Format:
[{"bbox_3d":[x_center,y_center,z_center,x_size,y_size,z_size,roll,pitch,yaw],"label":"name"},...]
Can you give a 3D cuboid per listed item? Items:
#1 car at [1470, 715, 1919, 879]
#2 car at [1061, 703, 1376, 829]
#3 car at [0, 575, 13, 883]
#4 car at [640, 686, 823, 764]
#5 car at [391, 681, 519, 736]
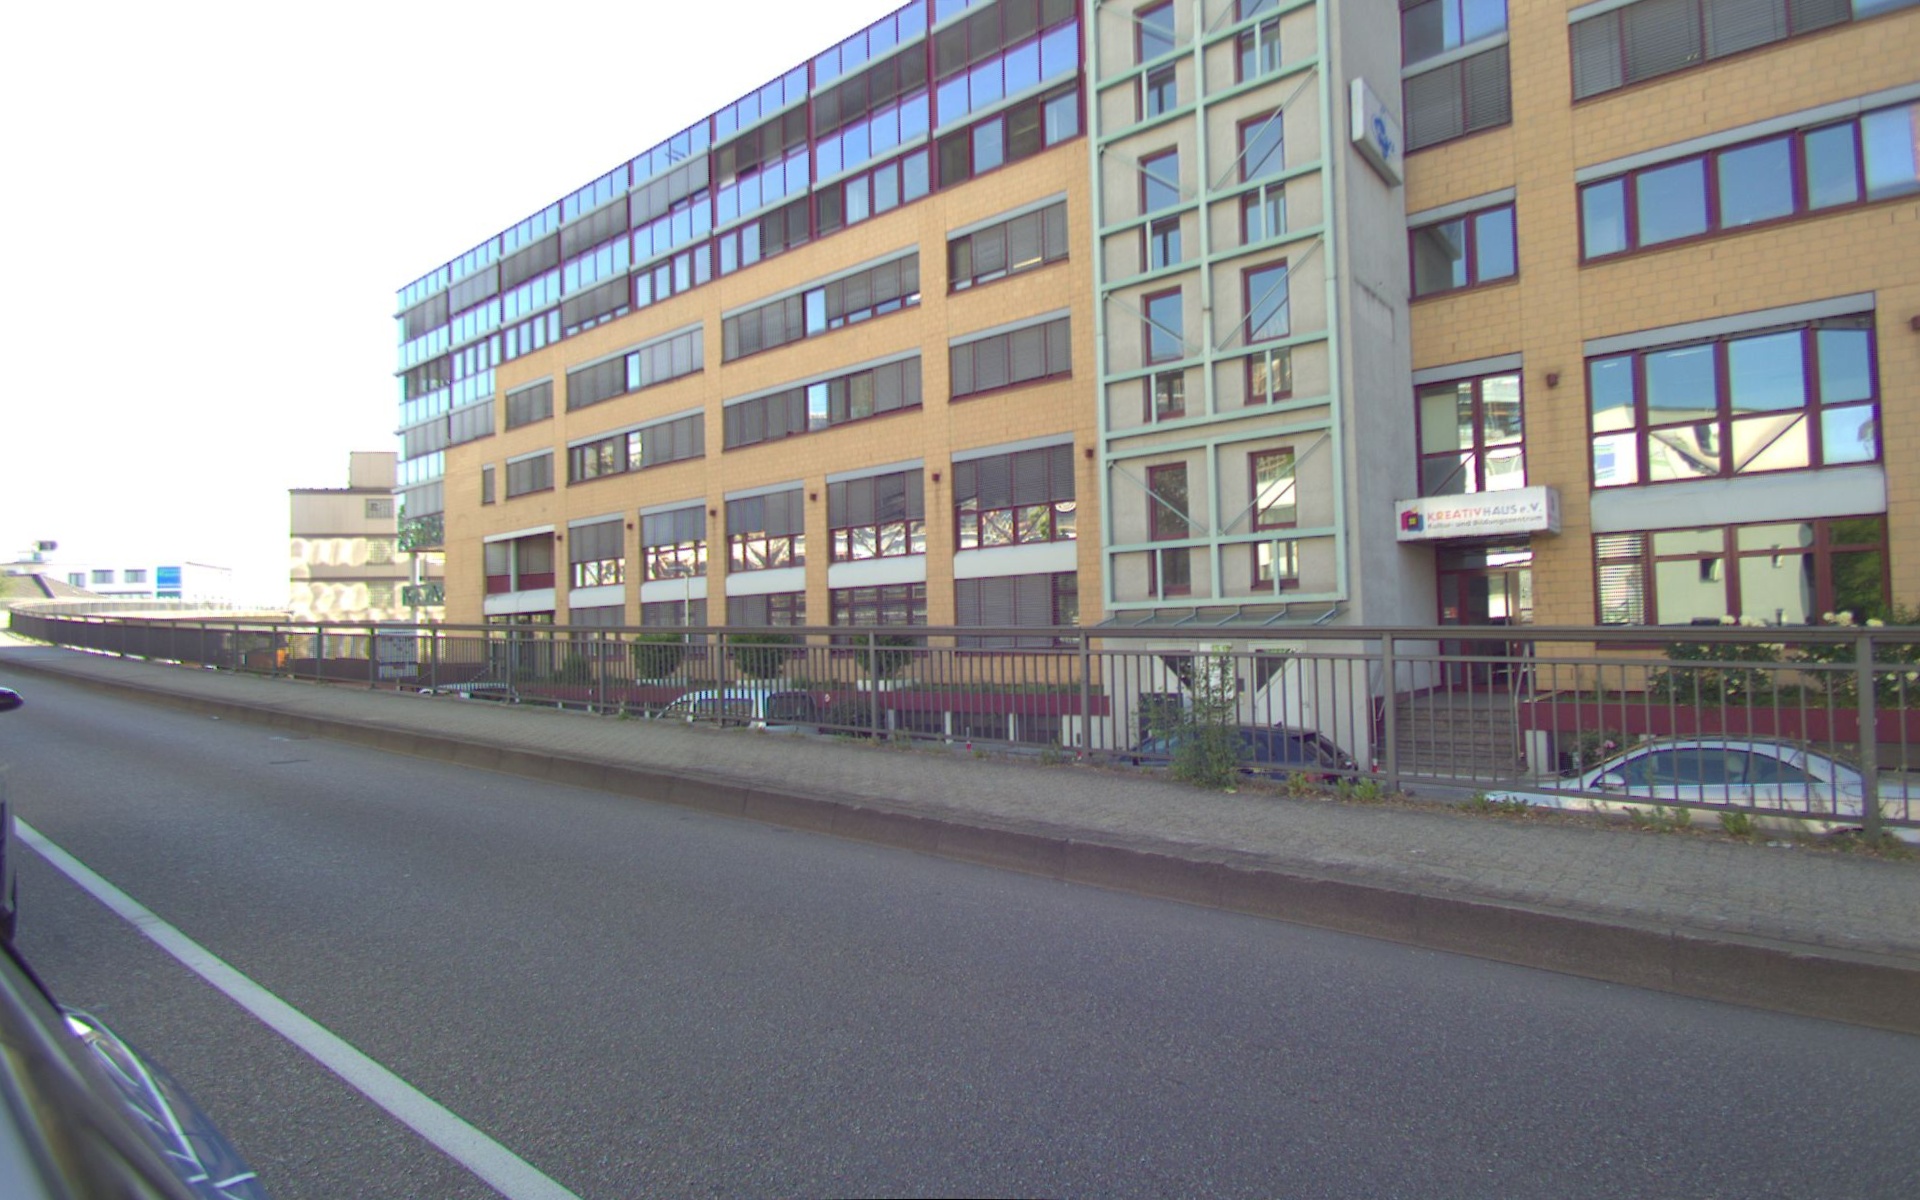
[{"bbox_3d":[7.686,1.879,10.218,4.254,1.175,1.704,-3,-4,40],"label":"car"},{"bbox_3d":[3.377,2.110,13.598,3.805,1.279,1.560,-3,-4,40],"label":"car"},{"bbox_3d":[-5.843,0.772,4.669,3.998,1.660,1.726,-3,-4,41],"label":"car"},{"bbox_3d":[-4.595,2.418,20.137,3.805,1.279,1.560,-3,-4,40],"label":"car"},{"bbox_3d":[-13.821,2.919,27.635,3.805,1.279,1.744,-3,-4,39],"label":"car"}]
